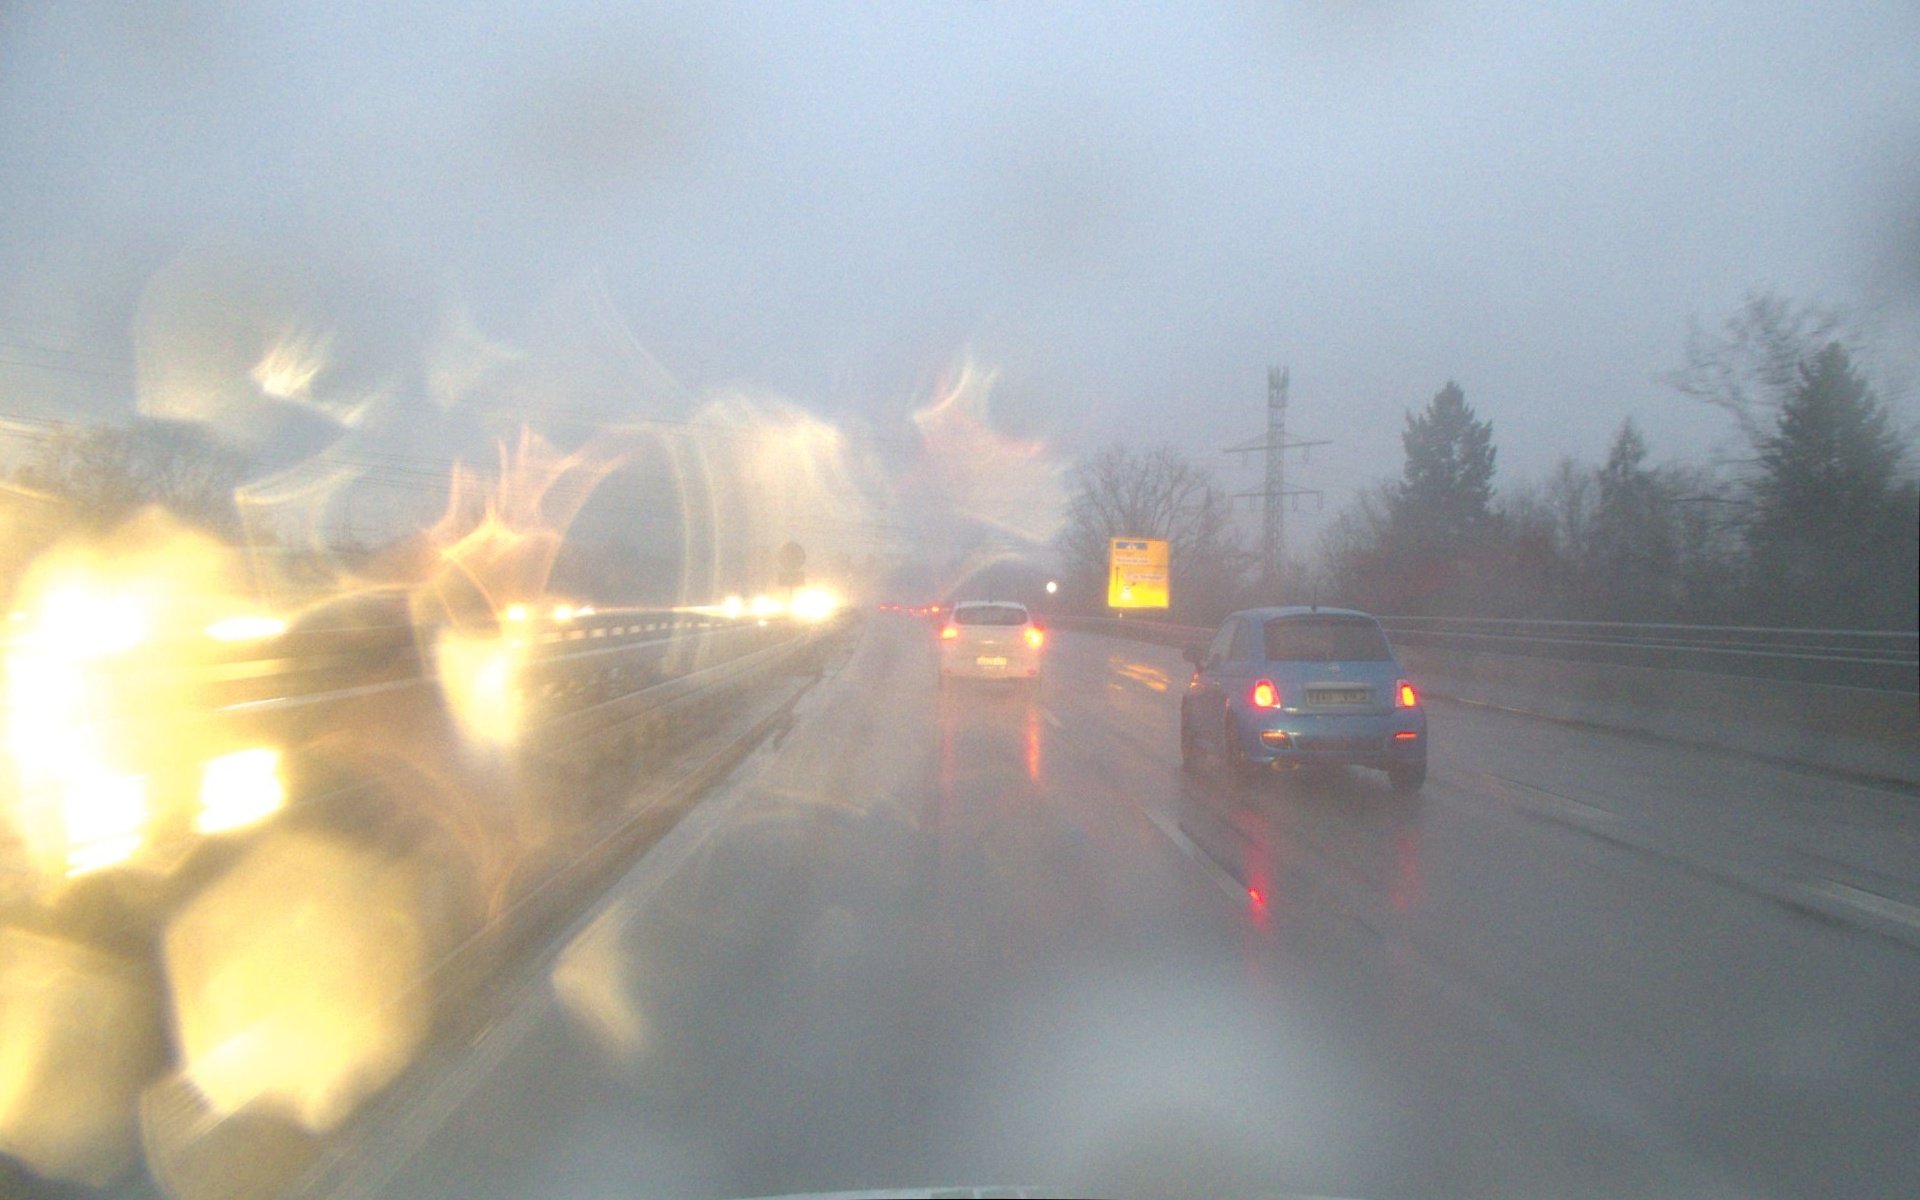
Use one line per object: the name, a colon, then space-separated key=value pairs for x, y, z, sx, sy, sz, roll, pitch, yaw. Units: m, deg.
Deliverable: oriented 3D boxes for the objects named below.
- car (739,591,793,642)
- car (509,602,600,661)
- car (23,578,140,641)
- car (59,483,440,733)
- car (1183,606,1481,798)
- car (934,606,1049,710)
car: x=-8.905 y=0.735 z=76.308 sx=1.953 sy=2.173 sz=5.198 roll=0 pitch=1 yaw=-1
car: x=-12.635 y=0.958 z=51.758 sx=1.798 sy=1.665 sz=4.544 roll=0 pitch=1 yaw=-1
car: x=-30.085 y=0.294 z=56.790 sx=1.953 sy=2.049 sz=3.998 roll=1 pitch=0 yaw=-2
car: x=-7.329 y=0.068 z=17.745 sx=1.953 sy=2.253 sz=5.052 roll=1 pitch=0 yaw=-1
car: x=3.338 y=0.850 z=15.661 sx=1.808 sy=1.479 sz=4.148 roll=0 pitch=1 yaw=-1
car: x=0.483 y=0.971 z=28.743 sx=1.808 sy=1.664 sz=3.766 roll=1 pitch=-1 yaw=-2
